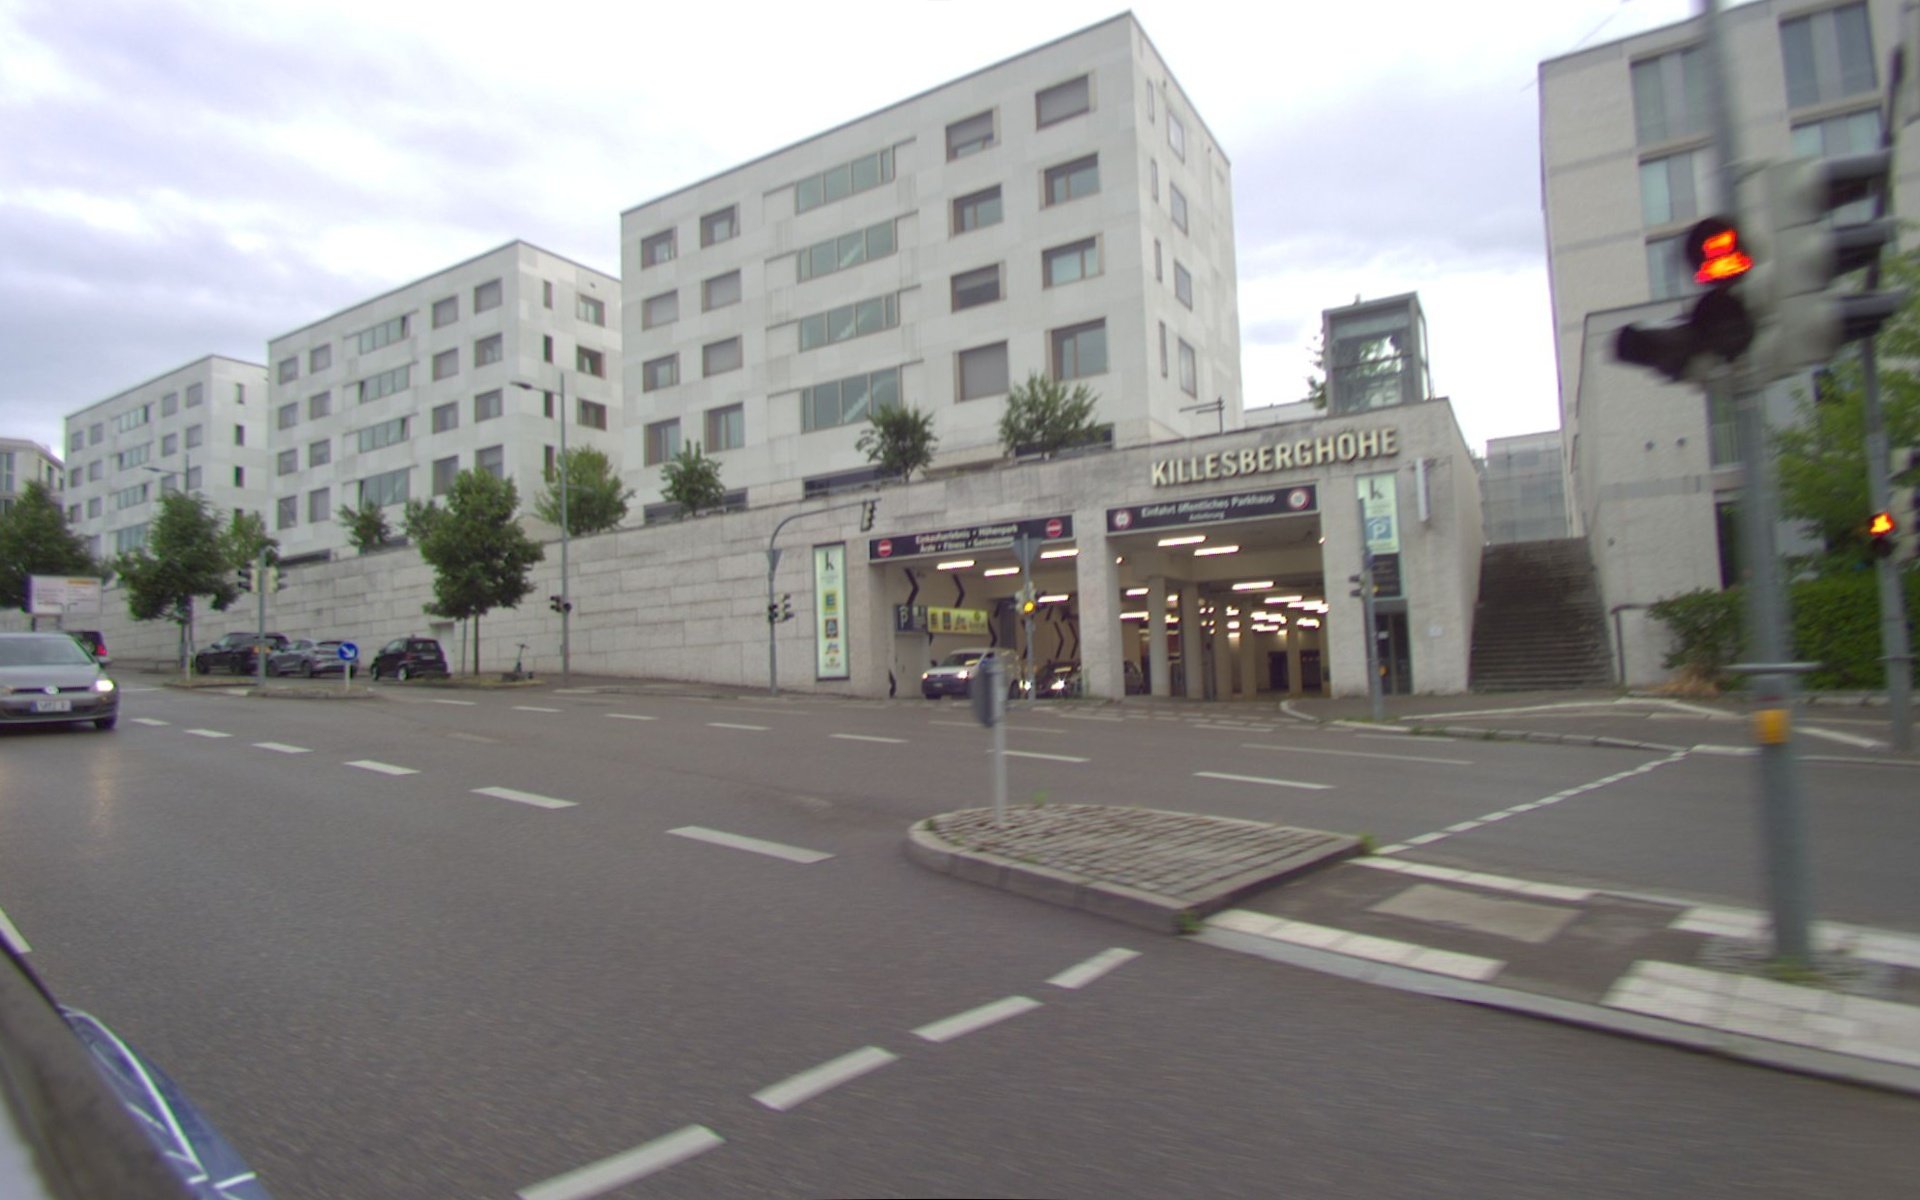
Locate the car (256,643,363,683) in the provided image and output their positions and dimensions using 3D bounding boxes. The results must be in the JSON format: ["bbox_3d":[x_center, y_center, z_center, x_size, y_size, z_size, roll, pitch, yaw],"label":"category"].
[{"bbox_3d":[-25.328,2.420,39.370,3.983,1.489,1.845,-2,-3,29],"label":"car"}]

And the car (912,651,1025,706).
[{"bbox_3d":[0.353,2.554,33.655,1.991,1.664,4.304,-1,-3,28],"label":"car"}]

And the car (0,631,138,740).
[{"bbox_3d":[-14.238,1.217,15.324,4.290,1.452,1.853,-2,-2,38],"label":"car"}]

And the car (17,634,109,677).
[{"bbox_3d":[-40.221,2.465,45.362,4.436,1.853,1.944,-2,-3,33],"label":"car"}]

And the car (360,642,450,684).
[{"bbox_3d":[-20.192,2.269,36.836,2.684,1.470,1.665,-1,-3,29],"label":"car"}]

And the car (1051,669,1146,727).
[{"bbox_3d":[4.861,3.341,35.108,1.794,1.785,3.956,-1,-3,32],"label":"car"}]

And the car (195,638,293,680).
[{"bbox_3d":[-29.602,2.421,41.829,3.983,1.644,1.772,-1,-3,29],"label":"car"}]

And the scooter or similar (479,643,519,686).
[{"bbox_3d":[-16.298,2.274,35.783,1.257,1.479,0.429,1,-2,-27],"label":"scooter or similar"}]

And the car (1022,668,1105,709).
[{"bbox_3d":[4.110,3.502,39.663,1.603,1.455,4.155,-2,-6,31],"label":"car"}]
